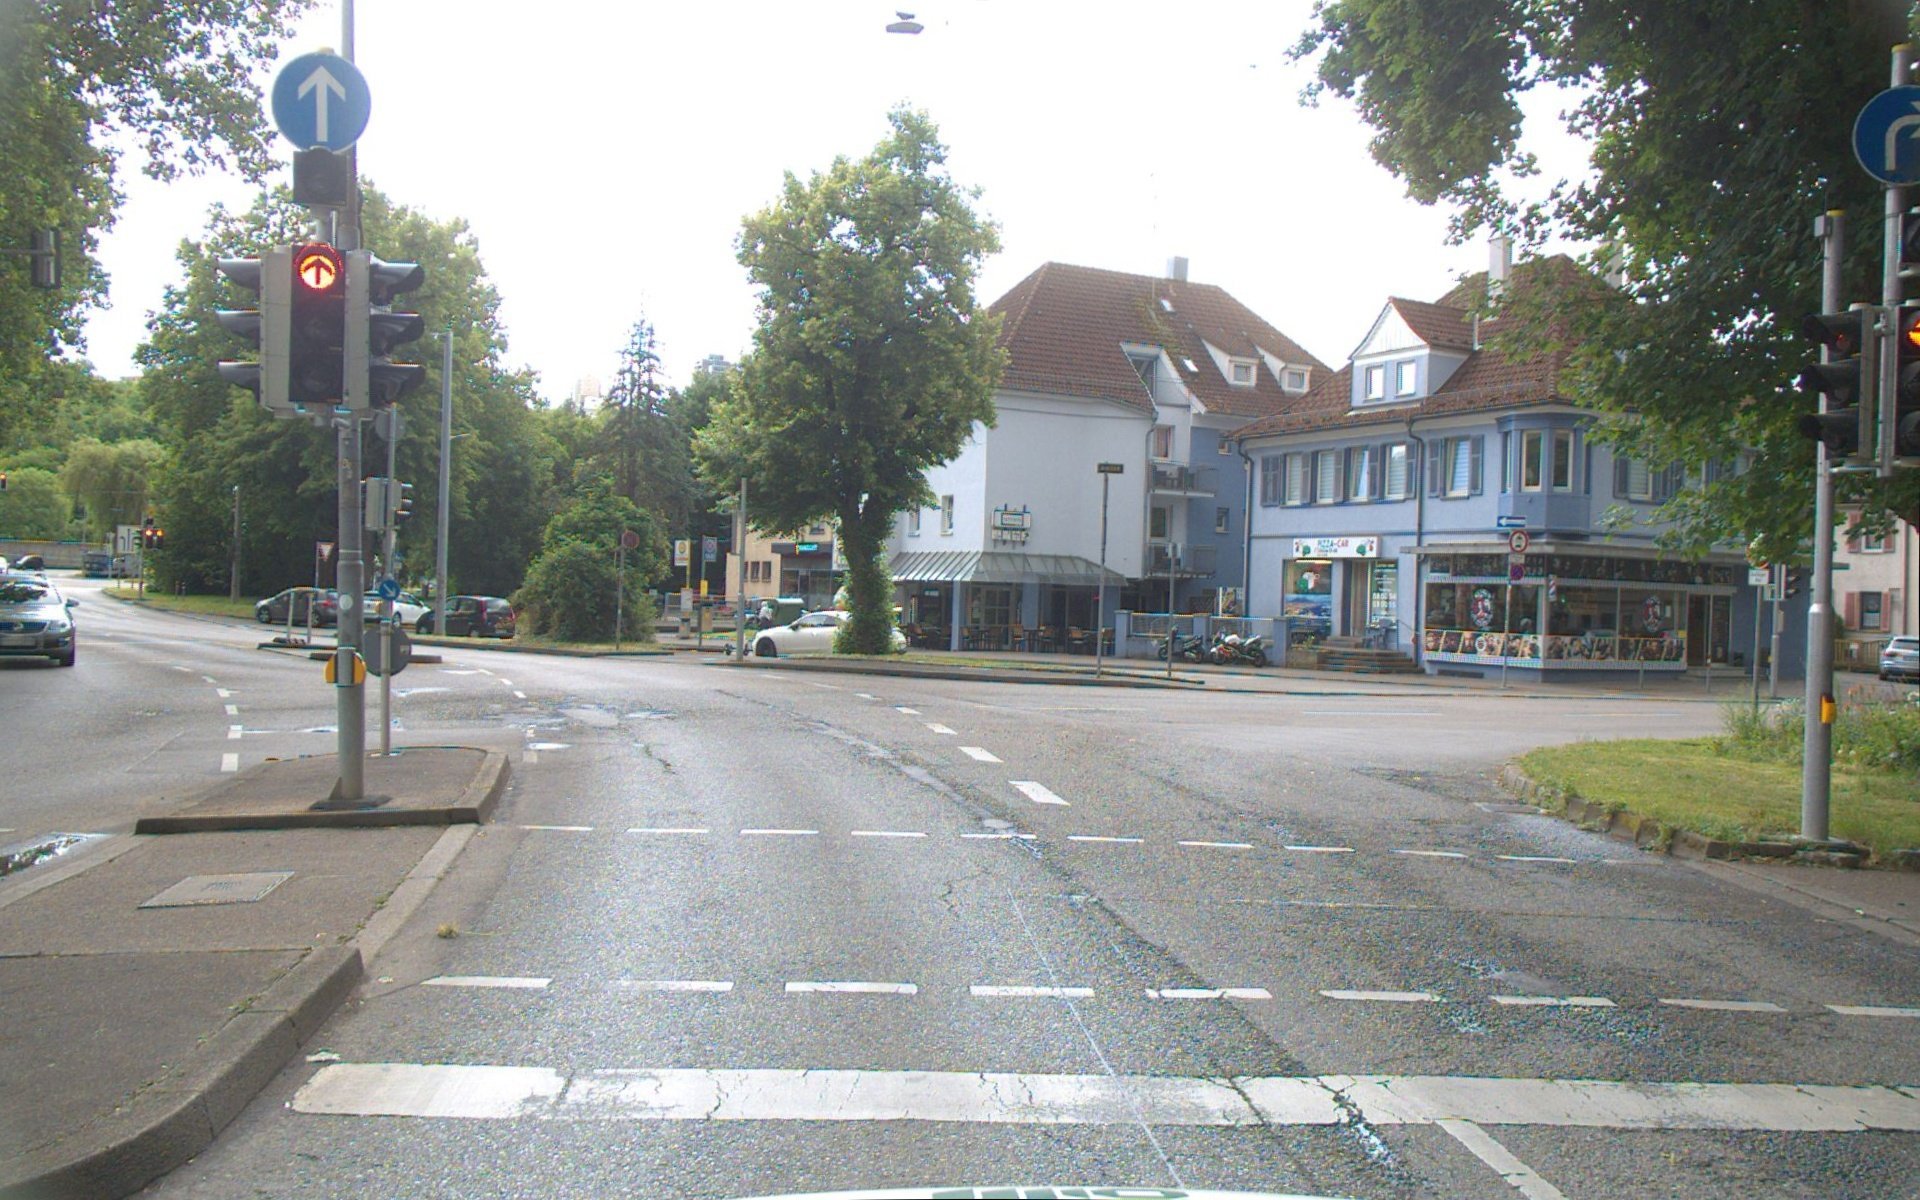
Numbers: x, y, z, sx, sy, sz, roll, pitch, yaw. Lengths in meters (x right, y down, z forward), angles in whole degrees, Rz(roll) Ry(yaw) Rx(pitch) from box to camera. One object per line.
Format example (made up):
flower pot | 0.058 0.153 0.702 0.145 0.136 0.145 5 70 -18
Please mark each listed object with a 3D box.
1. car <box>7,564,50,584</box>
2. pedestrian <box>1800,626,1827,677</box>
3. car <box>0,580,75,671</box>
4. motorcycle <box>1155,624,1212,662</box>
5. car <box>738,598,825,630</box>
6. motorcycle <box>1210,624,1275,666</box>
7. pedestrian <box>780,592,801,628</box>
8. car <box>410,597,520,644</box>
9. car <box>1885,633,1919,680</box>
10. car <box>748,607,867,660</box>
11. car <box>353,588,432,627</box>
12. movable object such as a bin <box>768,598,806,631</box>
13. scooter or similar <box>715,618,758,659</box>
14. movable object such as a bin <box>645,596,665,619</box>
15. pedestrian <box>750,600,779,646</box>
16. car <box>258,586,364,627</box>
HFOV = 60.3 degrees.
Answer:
car | -102.217 -2.841 181.491 3.948 2.049 1.978 1 0 -32
pedestrian | 25.896 1.561 50.184 0.576 1.544 0.458 1 -1 -15
car | -15.918 0.401 27.596 1.420 1.441 2.828 1 0 -41
motorcycle | 6.789 1.294 50.237 1.609 1.082 0.690 1 0 44
car | -8.161 0.640 75.732 3.690 1.368 1.421 1 0 -27
motorcycle | 8.270 1.311 48.480 1.765 1.141 0.692 1 0 38
pedestrian | -7.667 0.449 74.835 0.697 1.572 0.672 1 0 -27
car | -16.010 0.658 53.462 3.519 1.418 1.468 1 0 32
car | 29.849 1.741 51.413 1.471 1.393 3.164 1 0 38
car | -4.247 0.917 45.958 3.110 1.378 1.435 1 0 34
car | -22.671 0.304 66.184 1.512 1.490 3.398 1 0 10
movable object such as a bin | -7.721 0.657 73.841 1.424 1.433 0.959 1 0 -27
scooter or similar | -5.733 0.982 42.541 0.408 1.029 1.567 1 0 20
movable object such as a bin | -15.855 0.392 85.914 0.937 1.135 0.381 1 0 -22
pedestrian | -6.900 0.812 58.434 0.754 1.572 0.675 1 -1 38
car | -24.862 0.242 63.394 3.469 1.490 1.586 1 0 12
